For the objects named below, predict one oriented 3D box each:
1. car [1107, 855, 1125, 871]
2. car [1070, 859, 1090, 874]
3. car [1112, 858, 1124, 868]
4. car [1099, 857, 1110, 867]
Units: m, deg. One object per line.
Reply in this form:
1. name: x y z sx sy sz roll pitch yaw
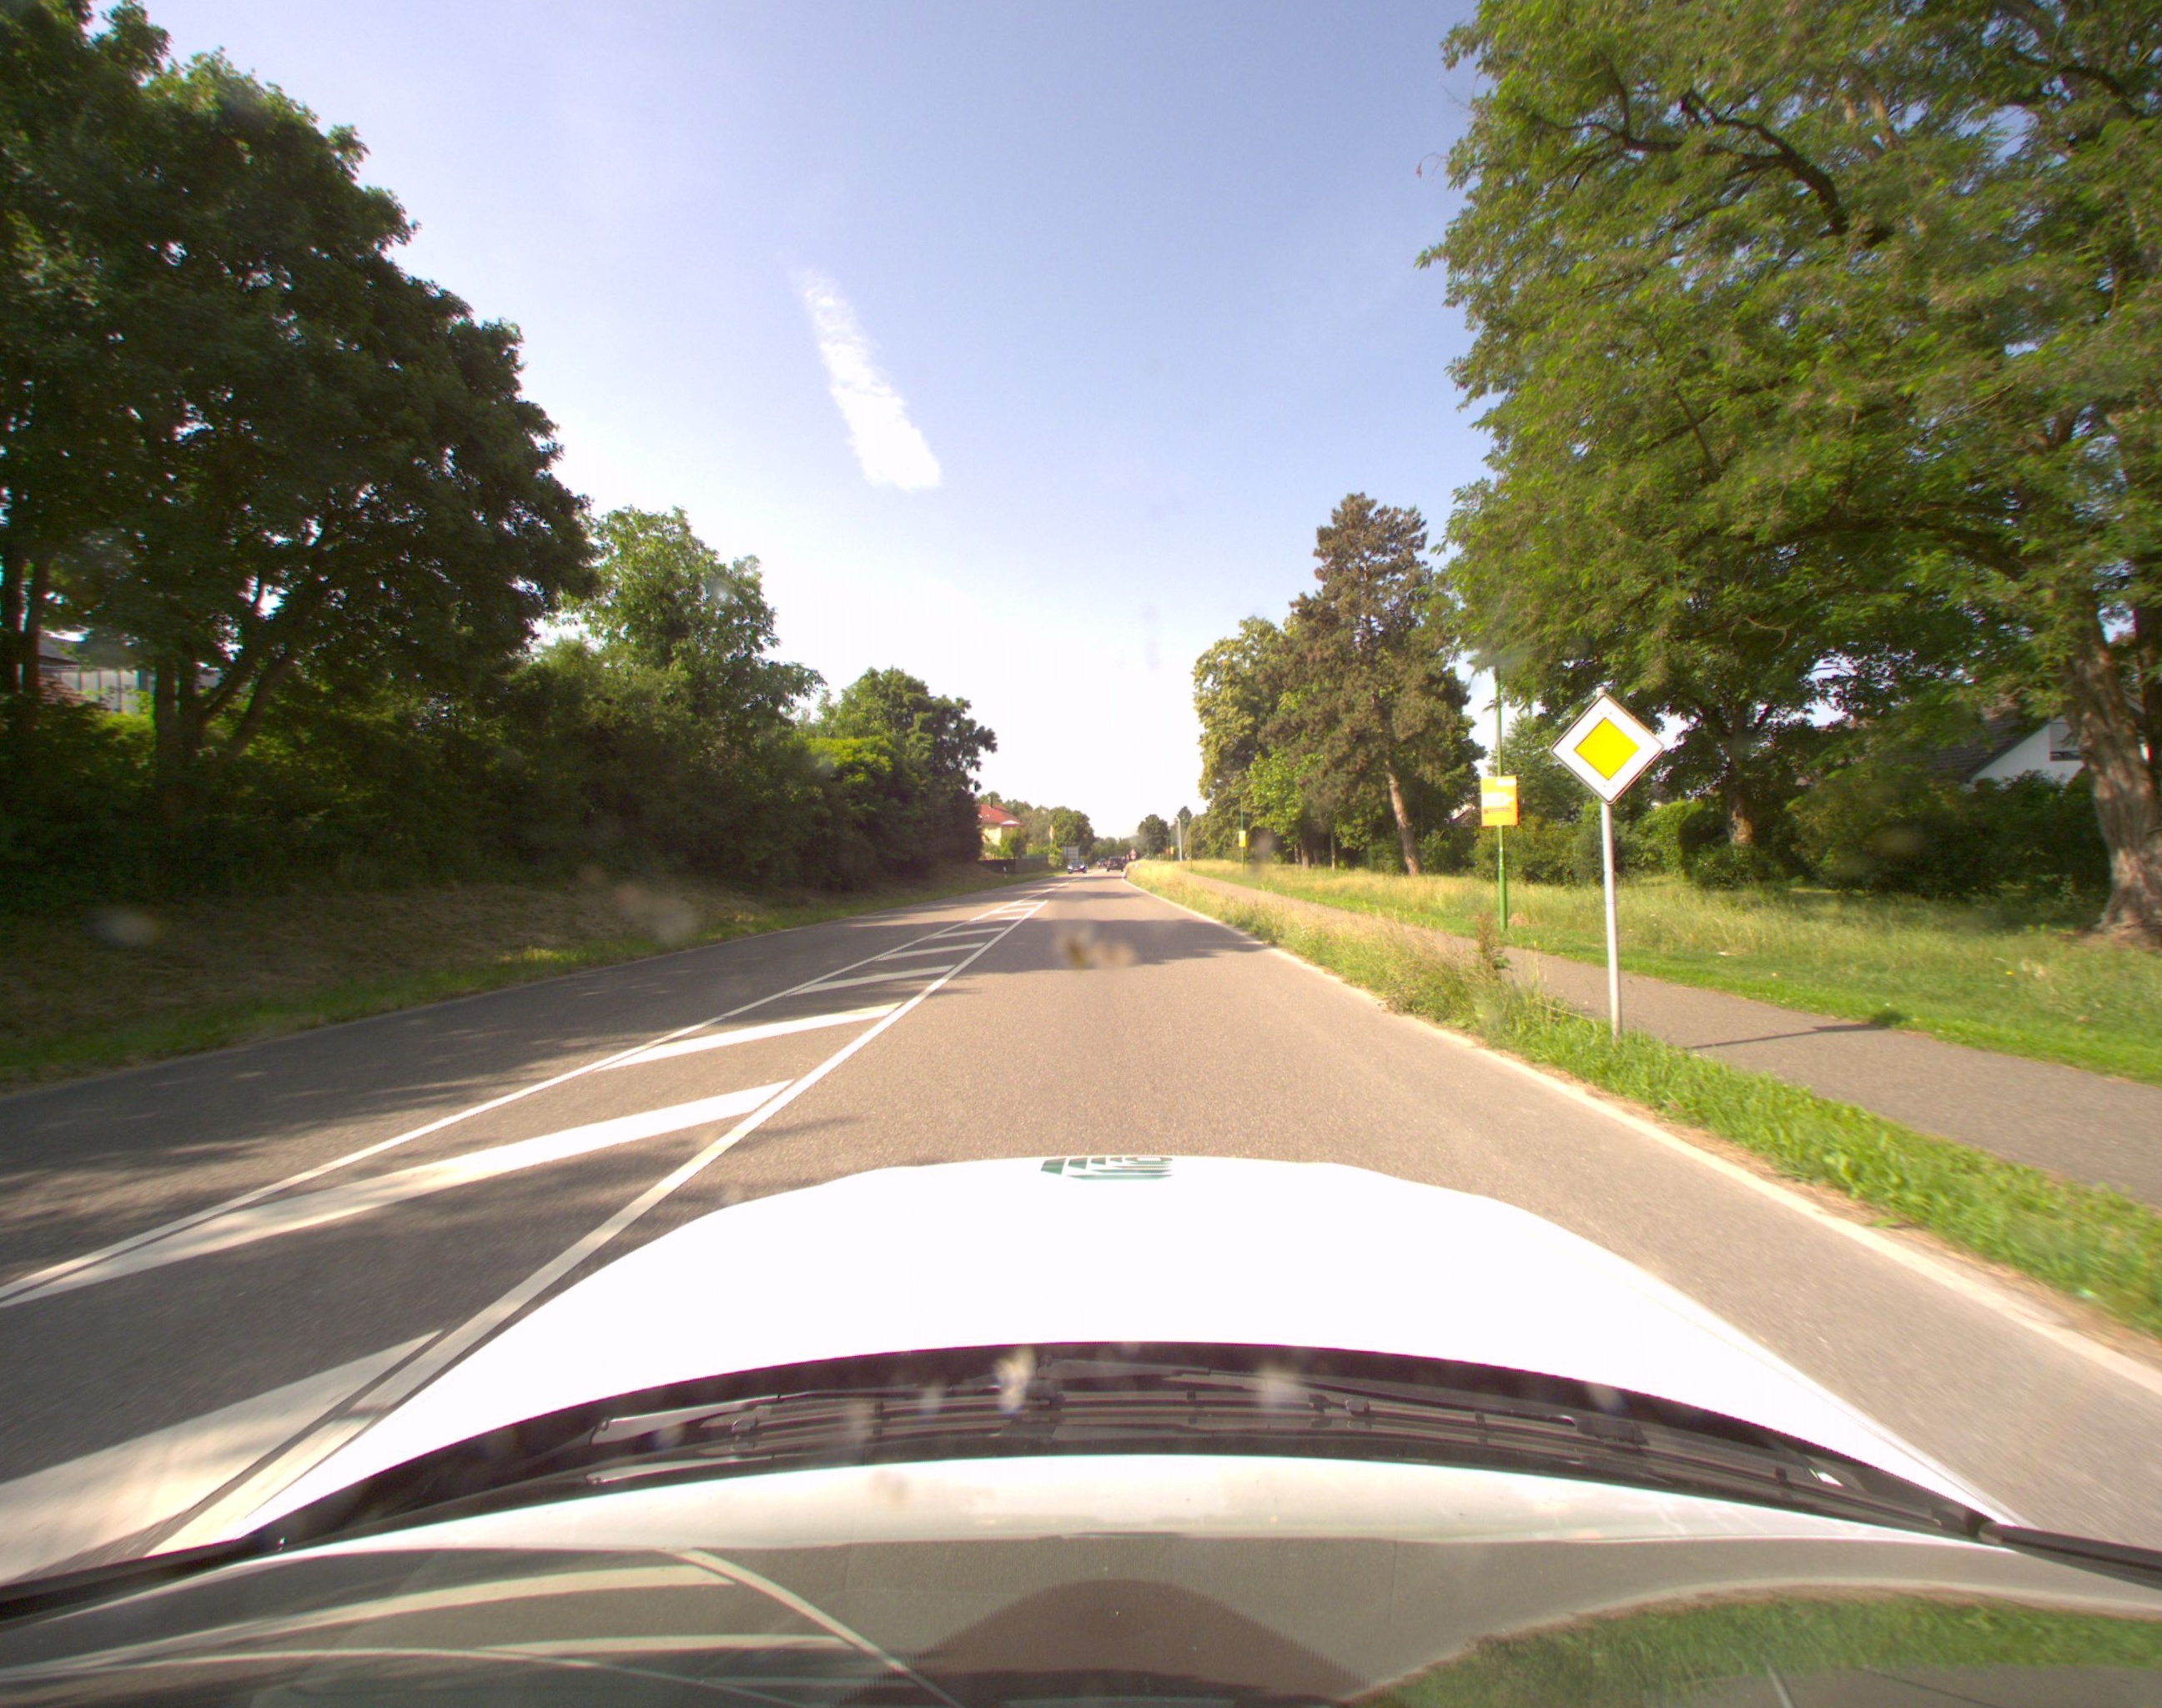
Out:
1. car: 4.050 1.043 94.783 1.918 1.771 4.001 -2 0 1
2. car: -0.073 1.289 87.594 1.863 1.423 4.579 -4 0 2
3. car: 5.842 1.398 129.418 1.730 1.516 3.913 -2 0 -1
4. car: 4.733 1.678 165.640 1.933 1.817 4.240 -3 -1 -1
